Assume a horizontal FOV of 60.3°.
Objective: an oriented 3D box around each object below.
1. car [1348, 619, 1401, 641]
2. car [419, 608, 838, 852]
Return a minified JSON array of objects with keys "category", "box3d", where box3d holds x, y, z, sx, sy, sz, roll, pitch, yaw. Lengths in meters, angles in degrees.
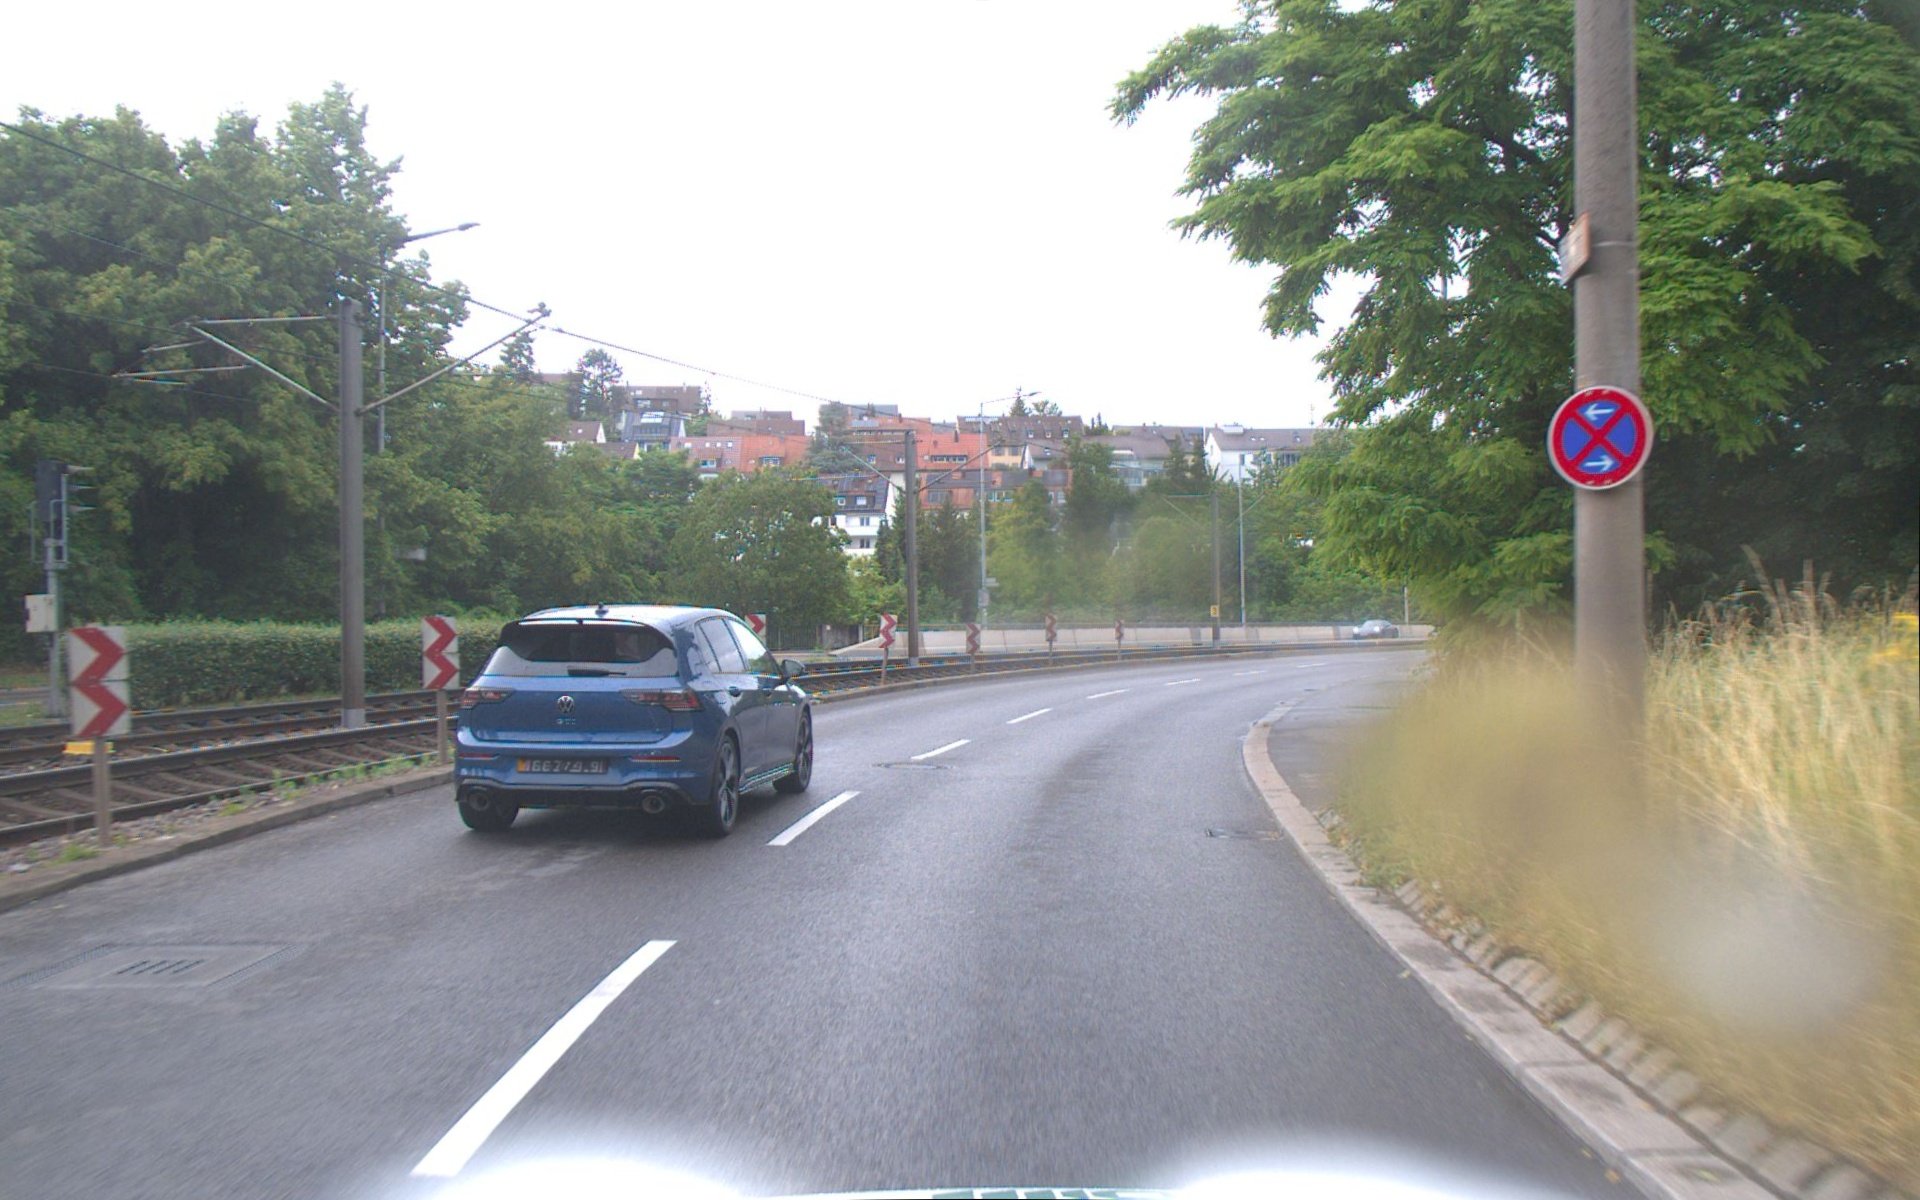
[{"category":"car","box3d":[26.038,1.865,103.779,1.958,1.390,4.178,0,-1,34]},{"category":"car","box3d":[-2.122,0.781,11.921,1.770,1.402,4.349,1,0,5]}]
